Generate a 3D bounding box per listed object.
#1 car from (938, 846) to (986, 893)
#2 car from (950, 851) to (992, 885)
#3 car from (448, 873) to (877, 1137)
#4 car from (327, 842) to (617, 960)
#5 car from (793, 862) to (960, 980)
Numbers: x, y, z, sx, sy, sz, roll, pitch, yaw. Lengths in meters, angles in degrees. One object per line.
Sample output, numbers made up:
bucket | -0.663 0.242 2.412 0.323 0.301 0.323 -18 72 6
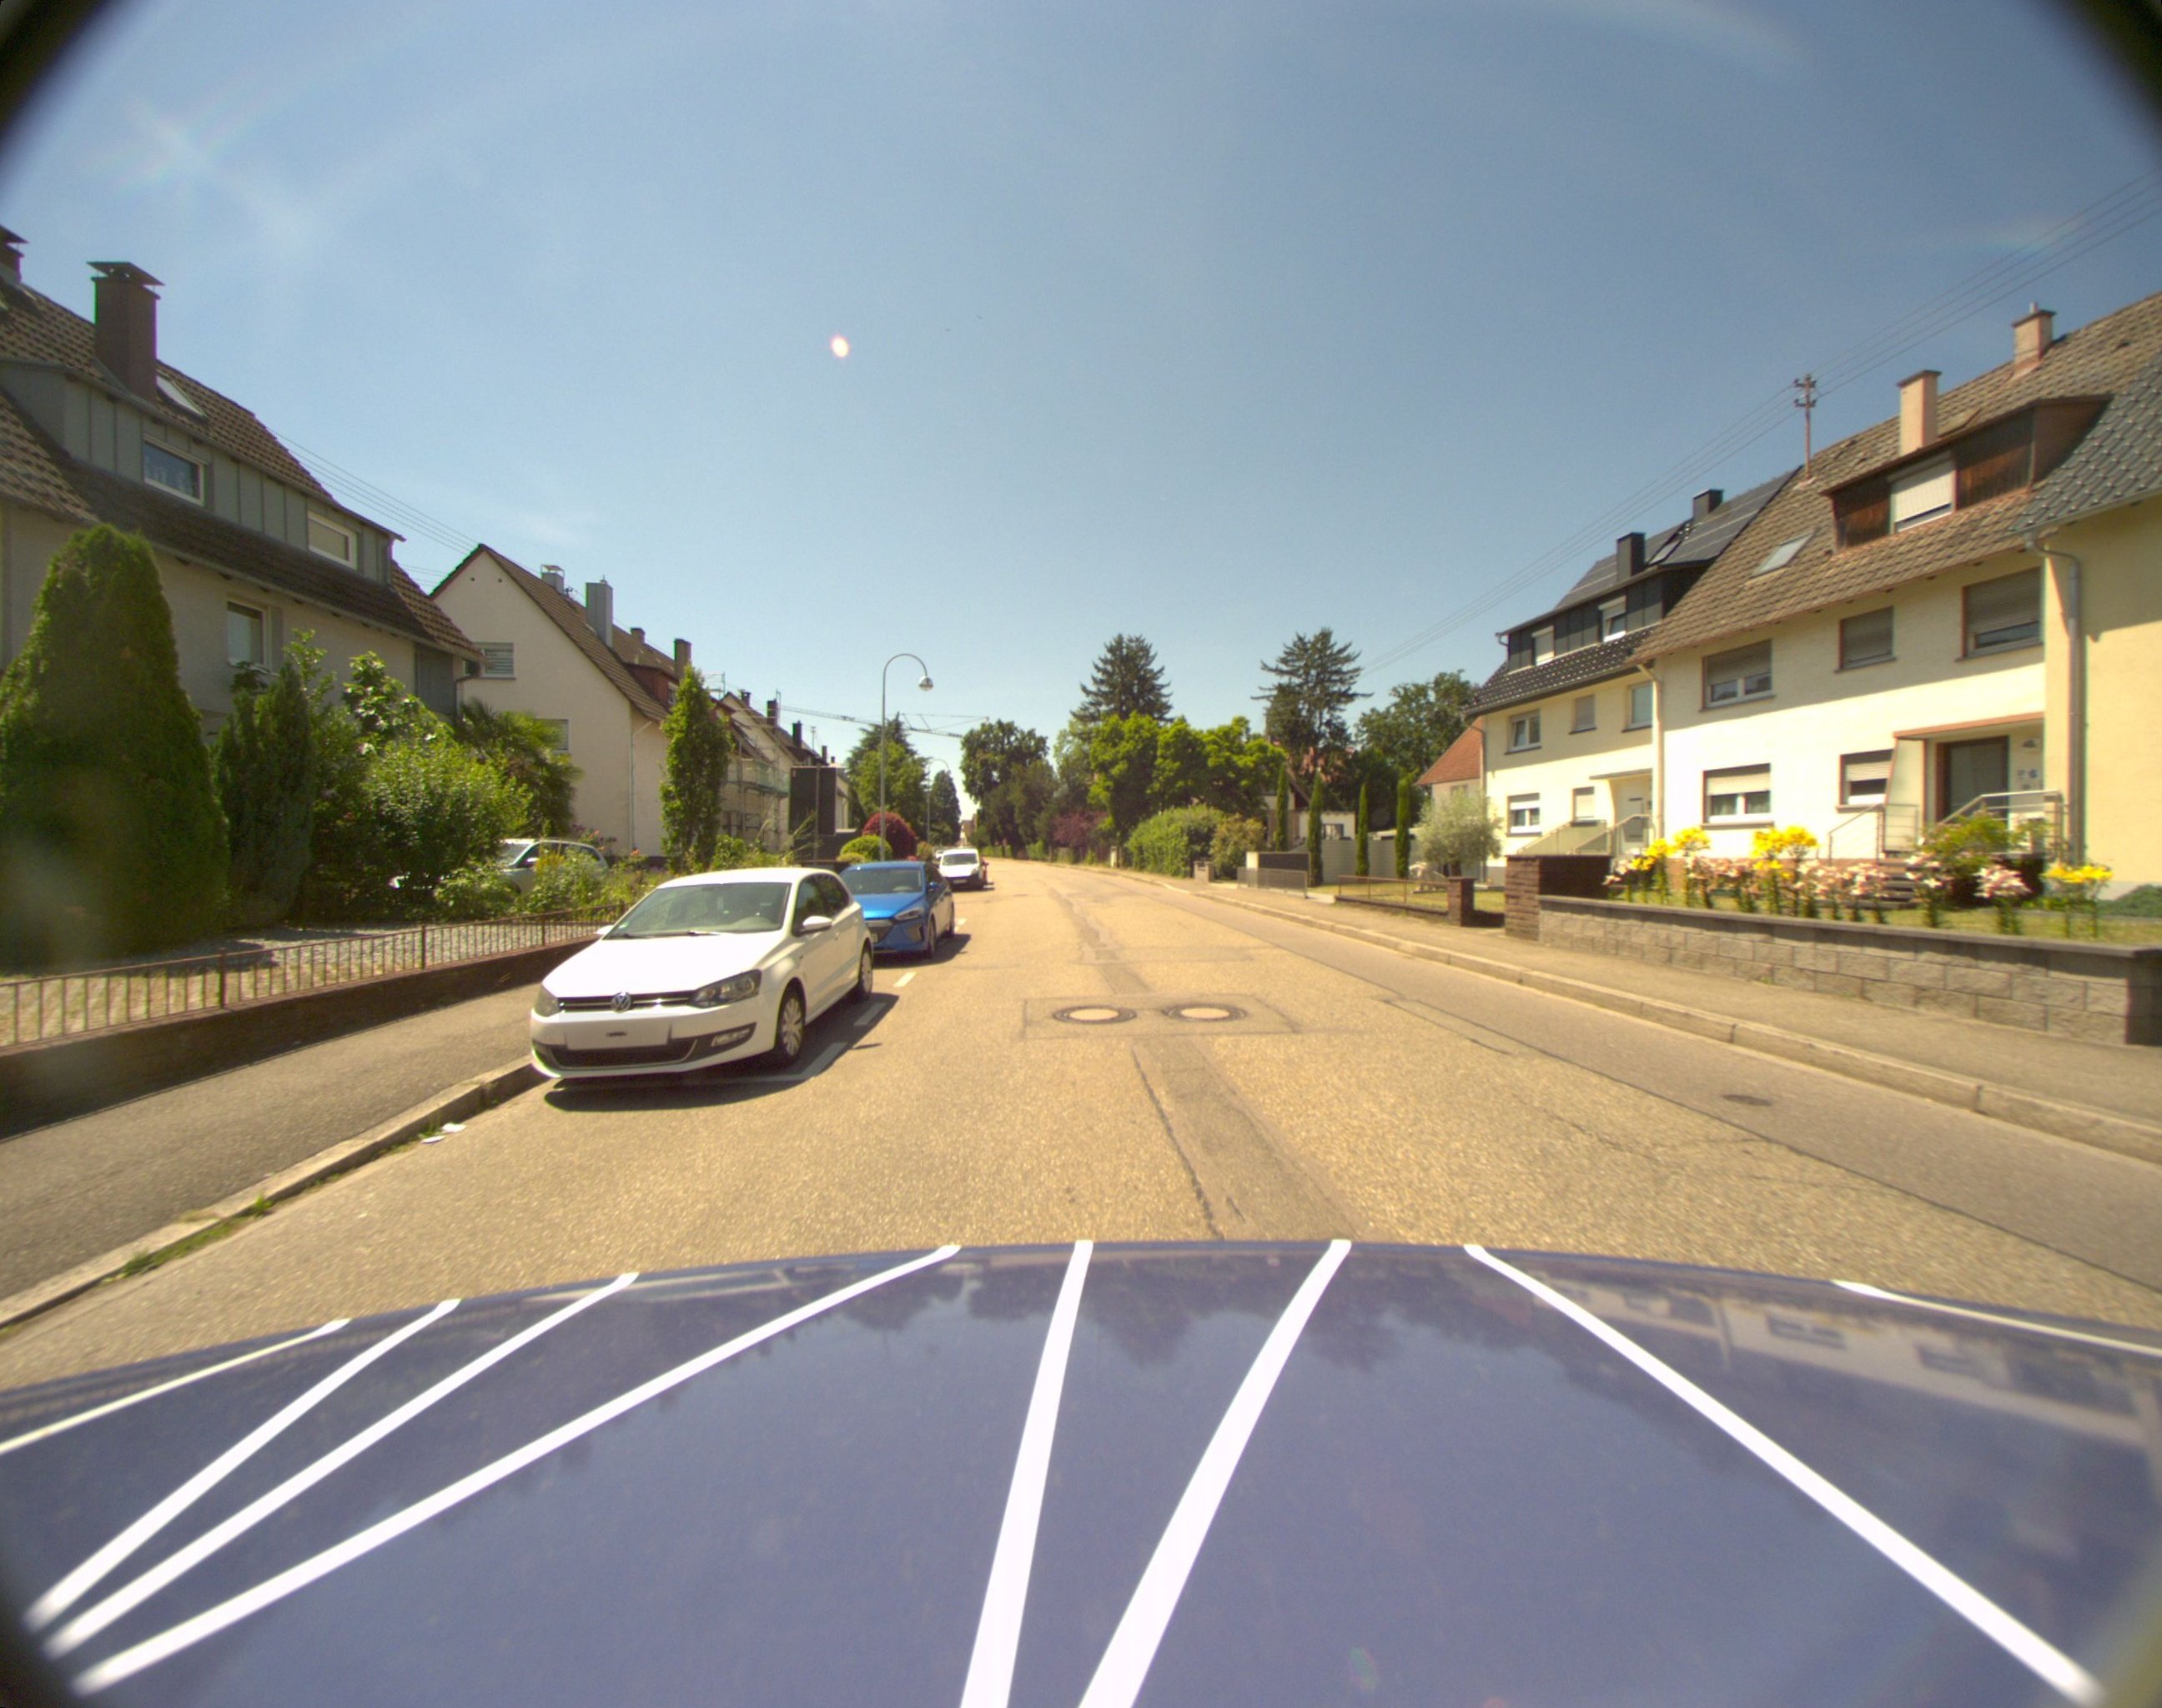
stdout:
car | -4.887 0.579 31.570 1.689 1.769 3.937 -3 1 -6
car | -5.255 0.624 36.741 1.689 1.488 3.938 -2 1 -4
car | -3.034 0.959 6.490 1.689 1.446 3.738 -2 0 -3
car | -11.020 0.712 14.304 1.922 1.840 4.528 -1 1 -3
car | -3.080 0.918 12.364 1.689 1.445 4.360 -2 1 -3
